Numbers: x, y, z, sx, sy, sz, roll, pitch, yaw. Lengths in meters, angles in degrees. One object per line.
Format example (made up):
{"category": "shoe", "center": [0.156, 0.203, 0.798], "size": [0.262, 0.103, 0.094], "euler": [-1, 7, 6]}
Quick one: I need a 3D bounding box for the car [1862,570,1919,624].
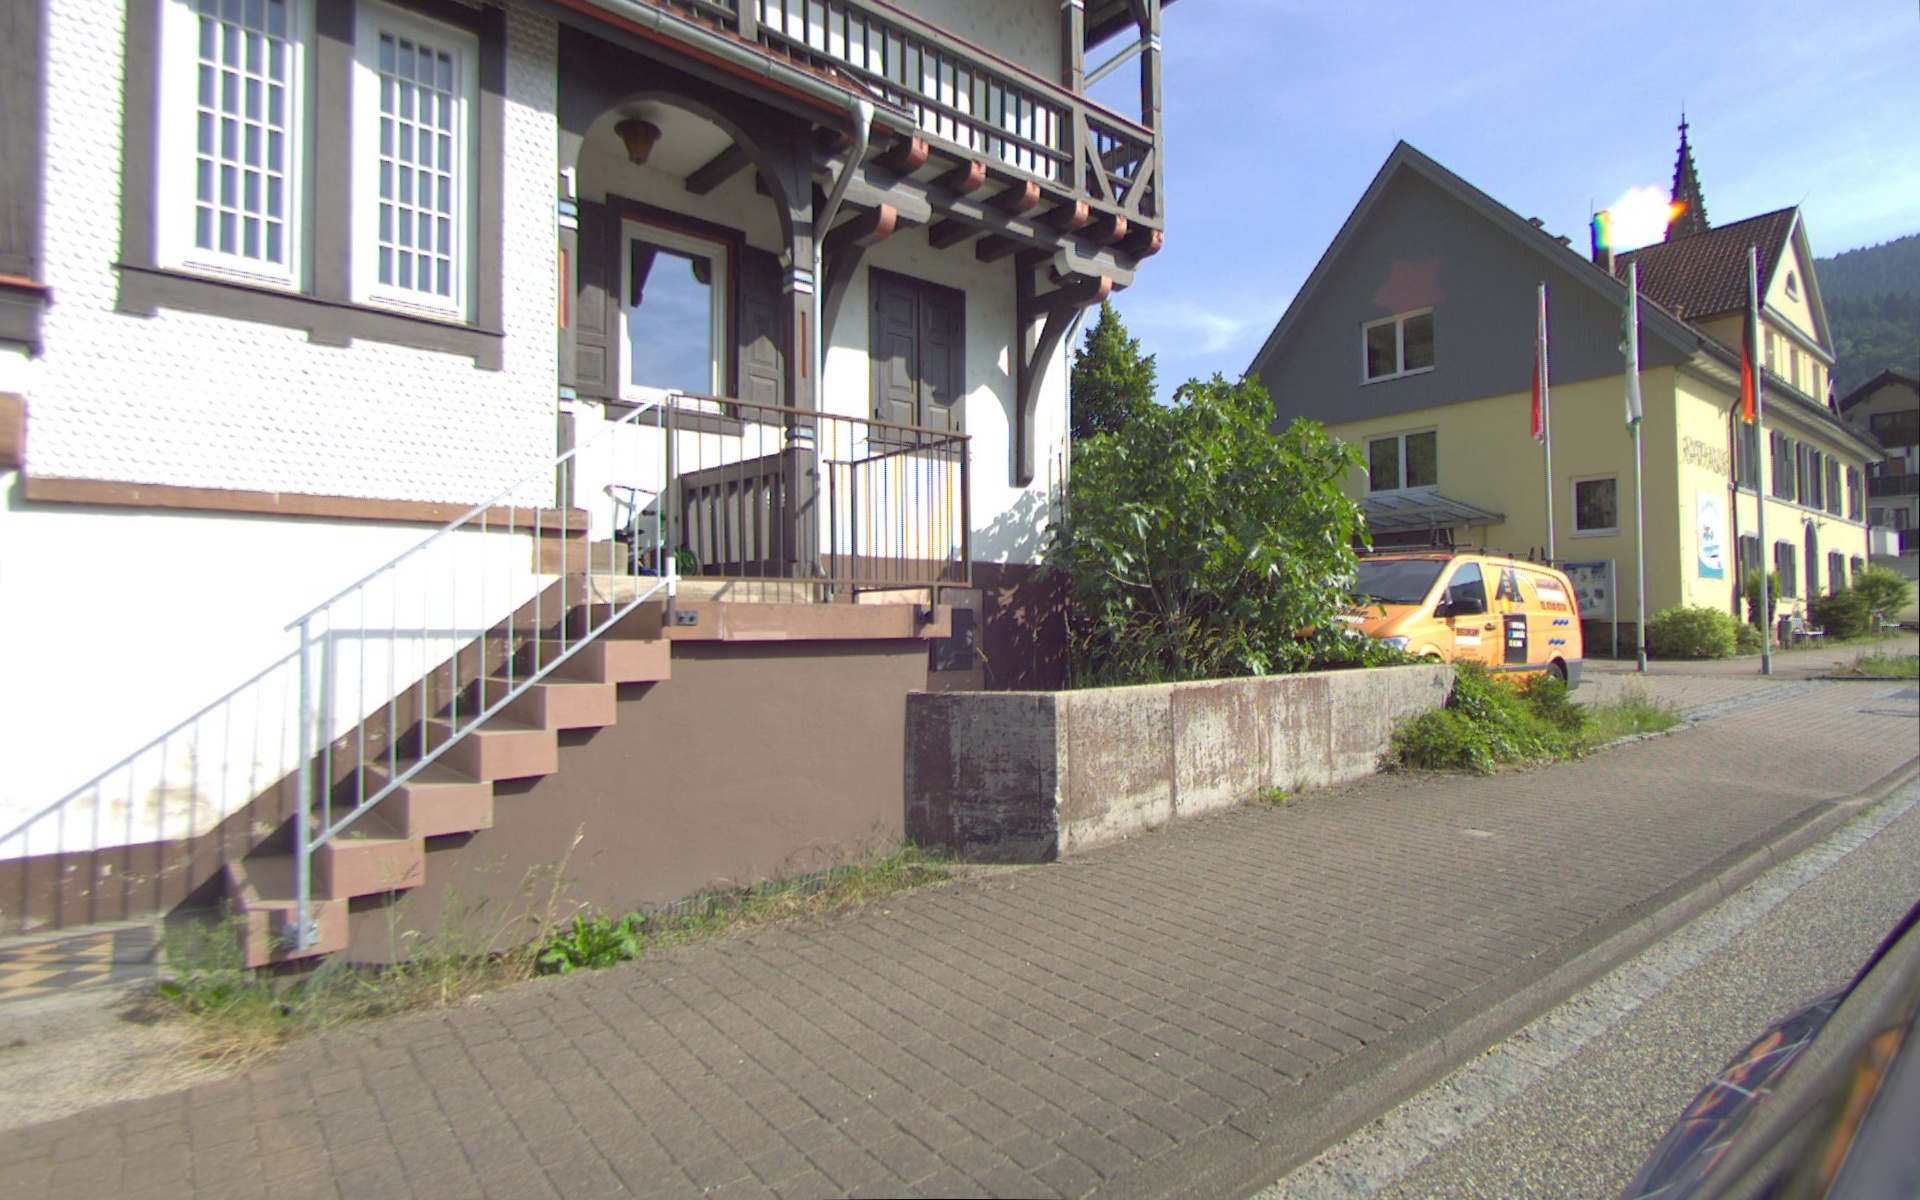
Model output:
{"category": "car", "center": [37.808, -0.037, 38.822], "size": [1.681, 1.982, 4.459], "euler": [0, 3, -36]}

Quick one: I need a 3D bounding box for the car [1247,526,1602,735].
{"category": "car", "center": [5.650, 0.298, 12.034], "size": [4.747, 2.023, 1.913], "euler": [0, -1, -39]}
